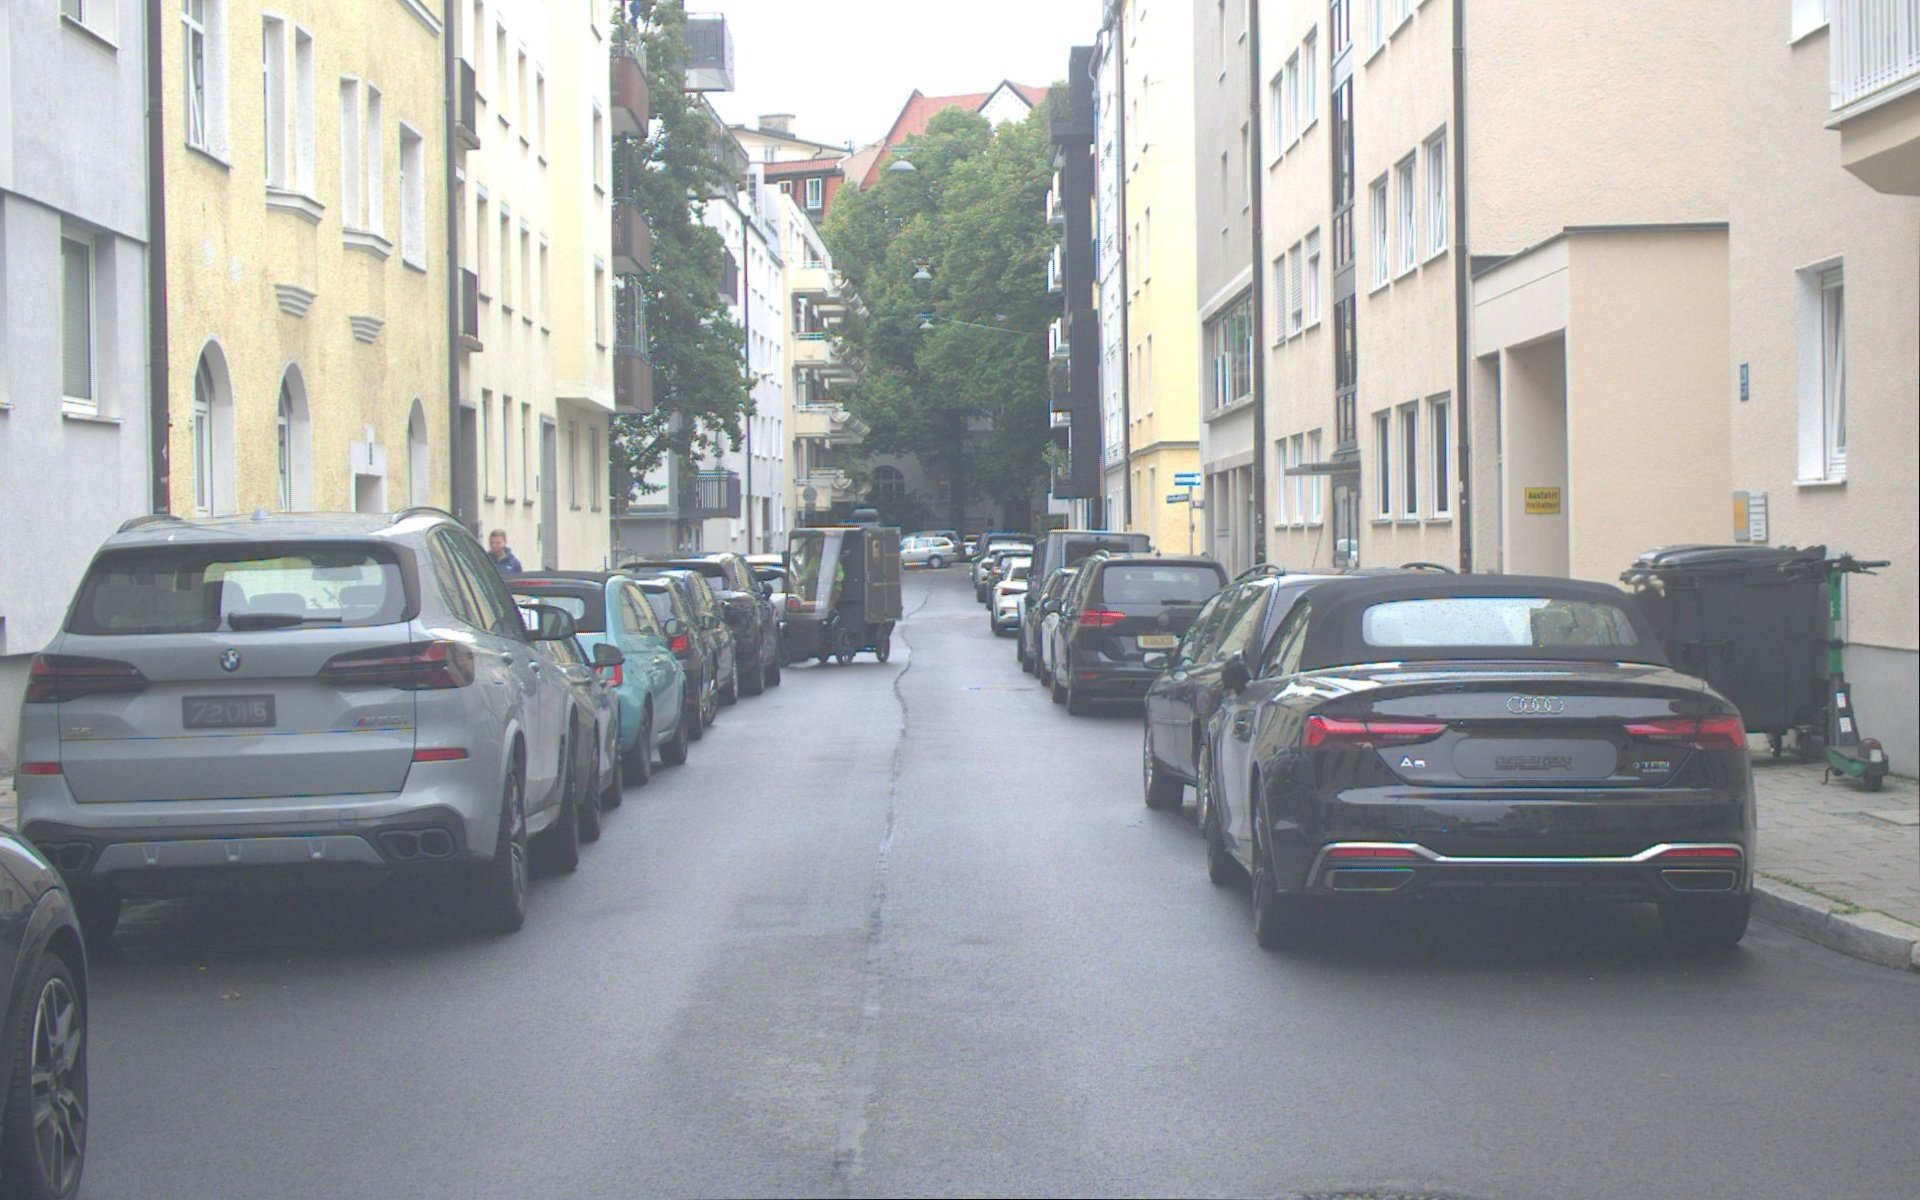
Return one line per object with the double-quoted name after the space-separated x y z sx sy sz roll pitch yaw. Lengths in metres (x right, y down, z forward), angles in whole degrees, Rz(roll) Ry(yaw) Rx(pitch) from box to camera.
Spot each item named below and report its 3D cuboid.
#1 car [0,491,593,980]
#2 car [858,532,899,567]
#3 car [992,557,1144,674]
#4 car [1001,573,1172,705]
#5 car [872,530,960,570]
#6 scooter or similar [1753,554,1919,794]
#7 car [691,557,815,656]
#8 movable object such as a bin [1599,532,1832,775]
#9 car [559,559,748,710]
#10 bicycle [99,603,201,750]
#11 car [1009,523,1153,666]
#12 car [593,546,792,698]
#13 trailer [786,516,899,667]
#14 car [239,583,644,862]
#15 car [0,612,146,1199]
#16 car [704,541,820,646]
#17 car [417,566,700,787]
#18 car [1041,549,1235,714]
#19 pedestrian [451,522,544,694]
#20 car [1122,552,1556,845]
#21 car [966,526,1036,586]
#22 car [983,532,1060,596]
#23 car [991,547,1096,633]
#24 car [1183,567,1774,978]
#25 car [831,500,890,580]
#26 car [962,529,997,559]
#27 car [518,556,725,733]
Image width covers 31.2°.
-2.785 0.489 15.371 1.862 1.764 4.736 -3 1 -2 "car"
-3.464 -2.142 146.275 1.642 1.379 3.483 -3 1 -1 "car"
1.408 0.182 46.232 1.711 1.481 4.245 0 1 -2 "car"
1.468 0.427 41.252 1.711 1.481 4.245 0 1 -2 "car"
-2.001 -2.288 156.054 3.885 1.579 1.648 -3 1 -1 "car"
4.829 0.390 18.985 0.576 1.262 1.136 -3 0 -1 "scooter or similar"
-3.169 0.071 53.193 1.652 1.431 3.803 -1 1 0 "car"
4.699 0.314 21.494 1.032 1.418 1.587 -3 0 0 "movable object such as a bin"
-3.164 0.322 36.000 1.563 1.455 3.475 -1 1 1 "car"
-5.945 0.545 25.277 0.395 1.027 1.570 0 0 -1 "bicycle"
1.763 -0.124 51.231 1.750 1.968 4.343 2 1 -2 "car"
-3.103 0.212 40.649 1.879 1.654 4.415 -1 1 1 "car"
-1.693 -0.123 50.367 1.355 2.108 3.318 -1 0 3 "trailer"
-2.941 0.637 20.349 1.811 1.381 4.251 -3 1 -2 "car"
-2.814 0.767 6.524 1.652 1.406 3.735 -3 0 -1 "car"
-3.334 -0.136 58.464 1.766 1.669 4.368 -1 1 -1 "car"
-2.865 0.506 25.140 1.563 1.455 3.404 -1 1 1 "car"
1.790 0.291 35.722 1.711 1.602 4.244 0 0 -1 "car"
-4.813 0.074 35.822 0.839 1.758 1.068 0 1 -1 "pedestrian"
2.016 0.477 19.566 1.716 1.466 4.532 0 1 -3 "car"
1.118 -1.251 96.025 1.682 1.562 4.416 2 1 -2 "car"
1.513 -0.920 86.083 1.751 1.464 4.343 2 1 -1 "car"
1.568 -0.213 65.782 1.819 1.403 3.953 0 4 -1 "car"
1.931 0.574 14.074 1.833 1.401 4.411 0 1 1 "car"
-3.660 -2.231 127.458 1.936 2.792 4.533 -3 1 -1 "car"
0.961 -2.844 173.254 1.642 1.379 3.746 -3 1 -1 "car"
-2.991 0.356 30.960 1.563 1.455 3.764 -1 1 -2 "car"
